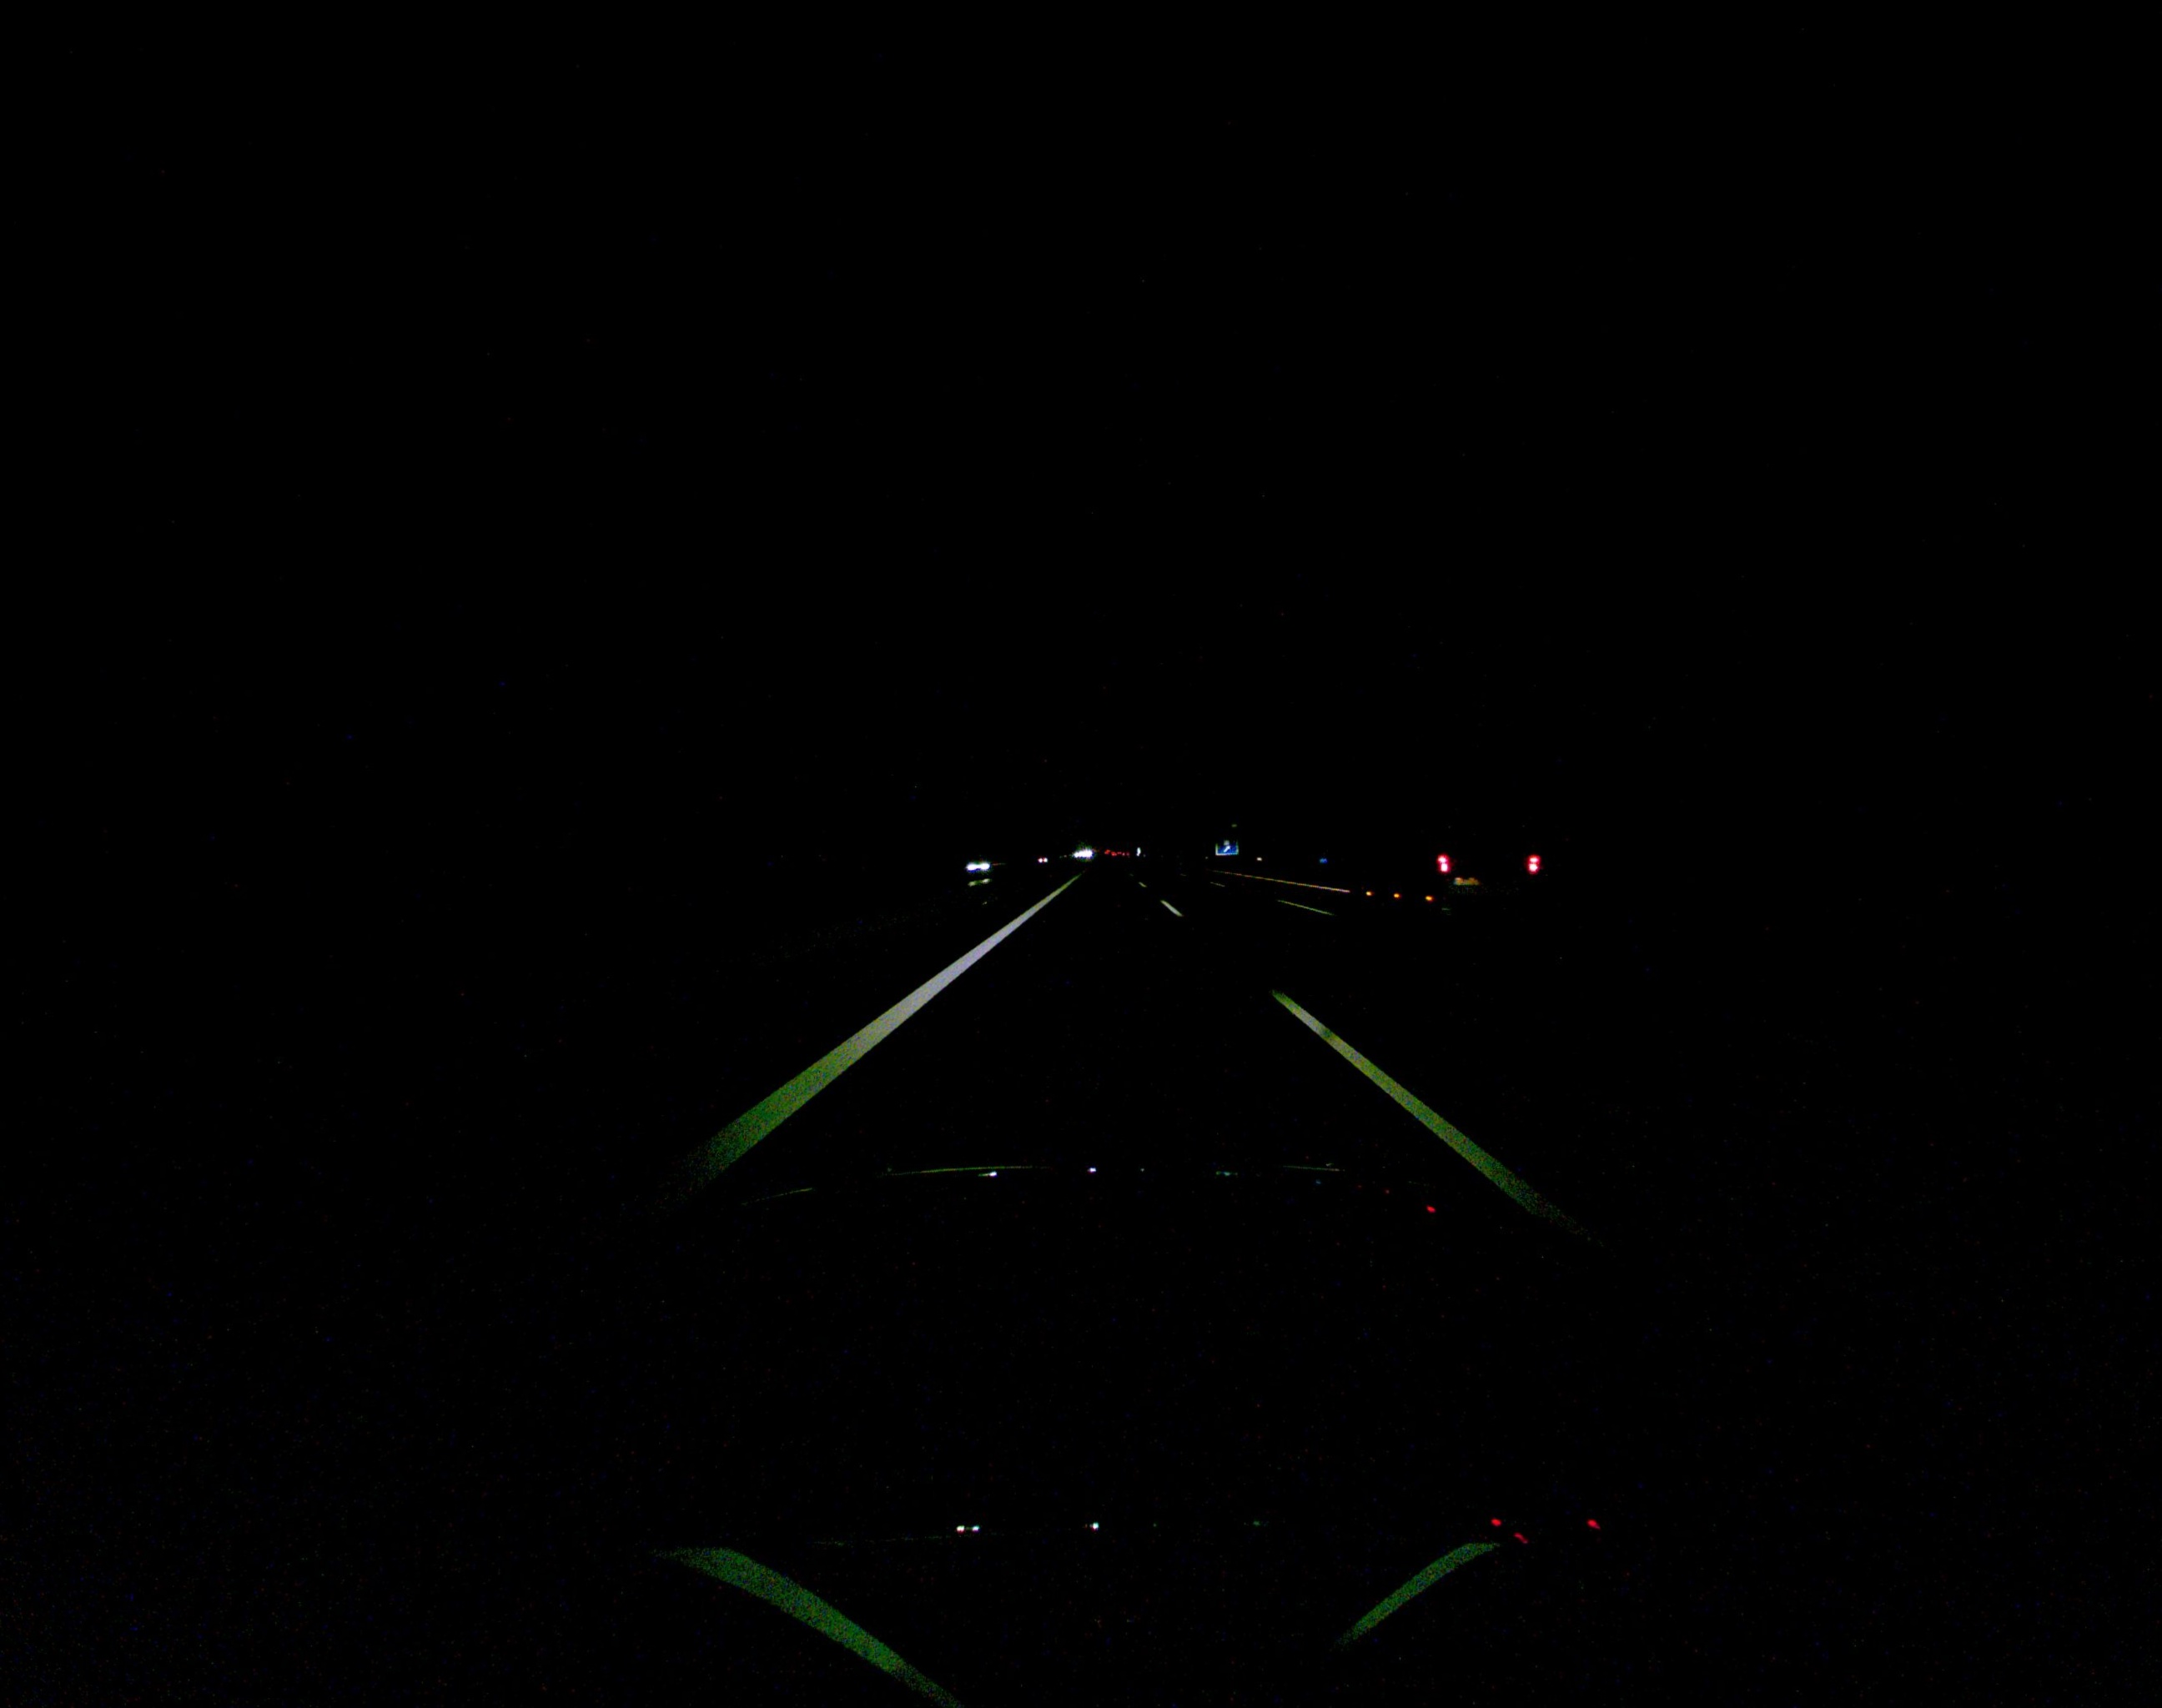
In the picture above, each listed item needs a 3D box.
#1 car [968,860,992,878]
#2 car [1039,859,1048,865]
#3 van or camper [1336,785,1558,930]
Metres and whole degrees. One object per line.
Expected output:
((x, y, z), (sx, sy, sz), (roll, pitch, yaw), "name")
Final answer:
((-10.609, 1.571, 85.873), (1.989, 1.638, 5.068), (-4, 0, -3), "car")
((-10.112, 2.140, 218.136), (1.986, 1.551, 5.006), (-5, 0, 1), "car")
((8.105, 0.049, 19.059), (2.199, 2.771, 6.805), (-1, 0, 1), "van or camper")
